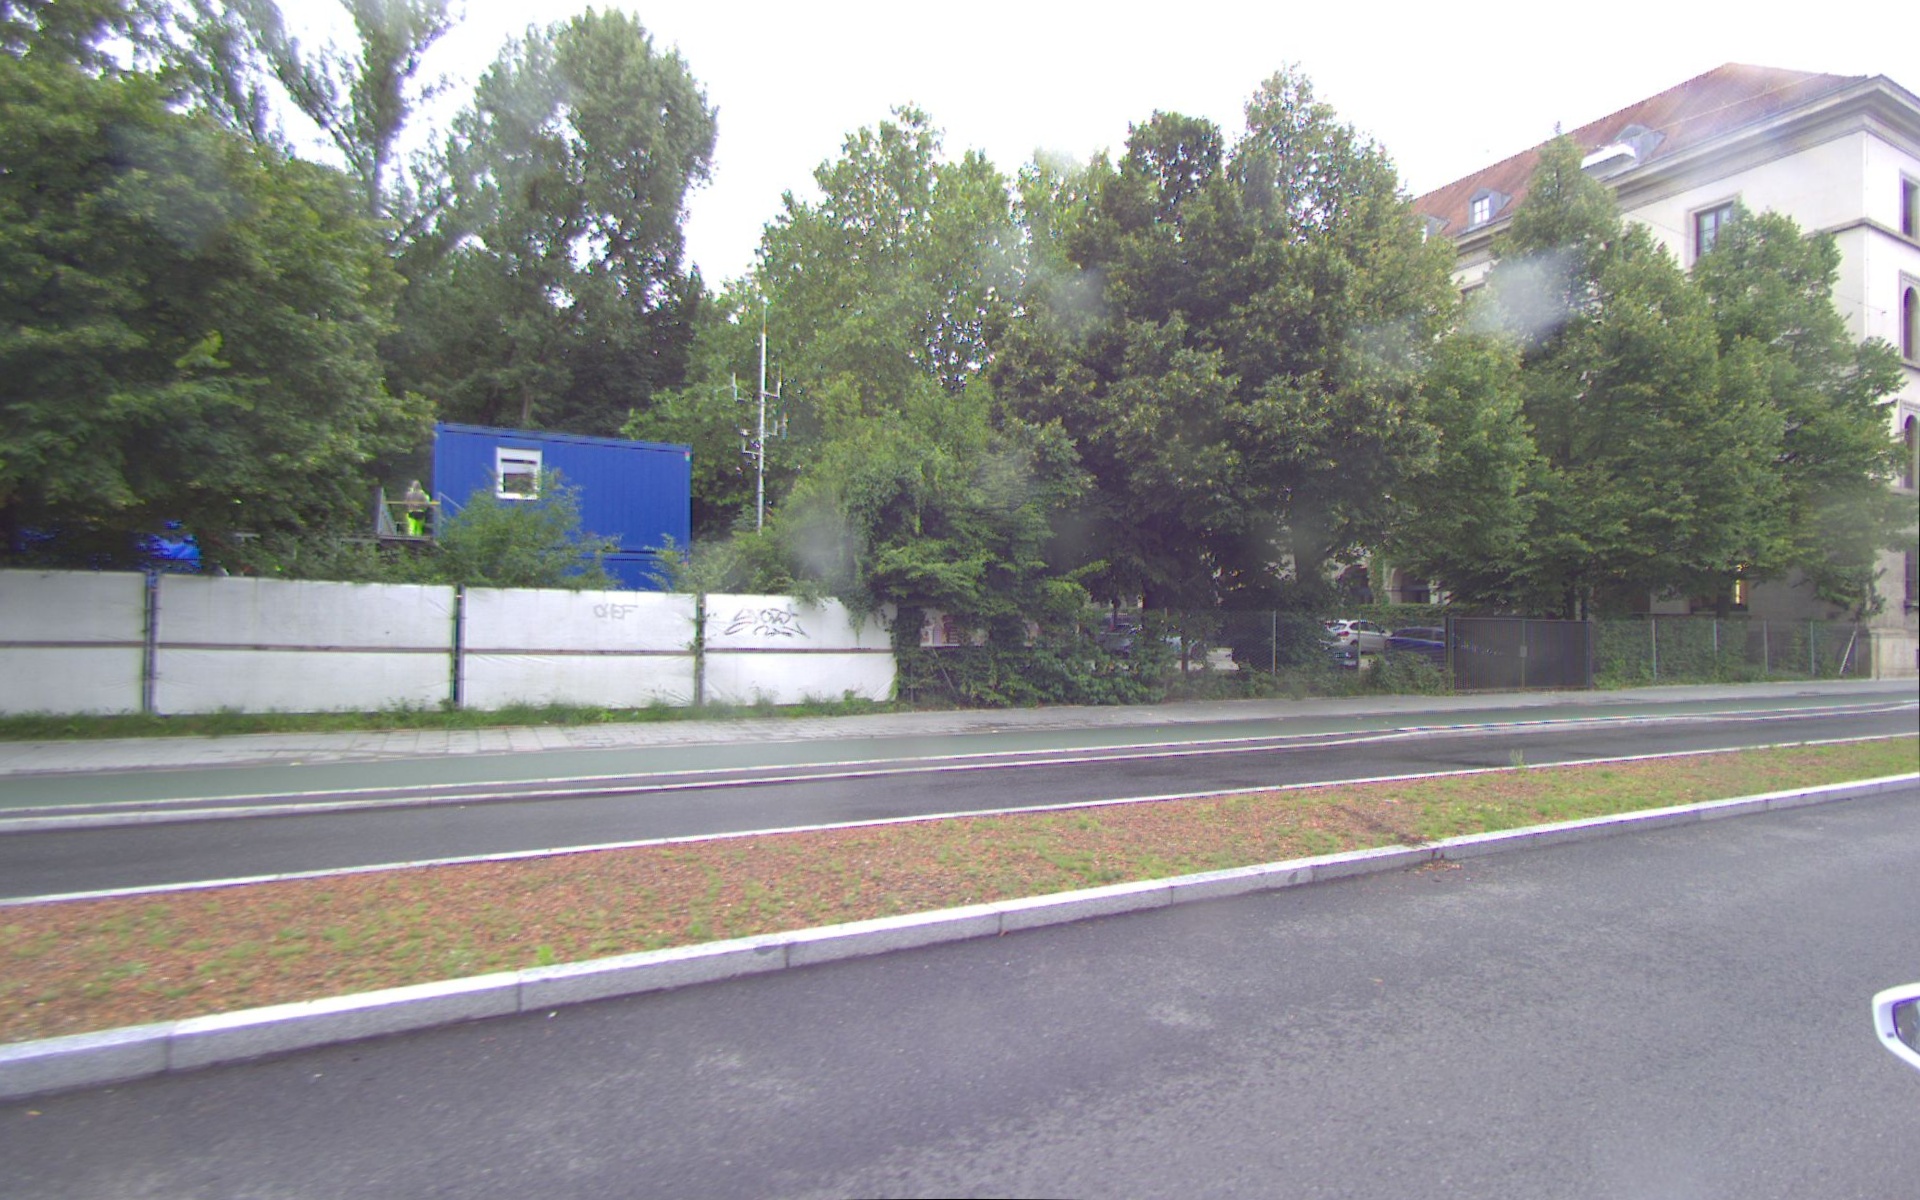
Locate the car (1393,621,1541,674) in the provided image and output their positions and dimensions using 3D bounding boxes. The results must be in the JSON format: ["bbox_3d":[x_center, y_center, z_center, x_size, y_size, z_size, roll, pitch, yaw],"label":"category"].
[{"bbox_3d":[17.053,1.555,33.995,1.782,1.671,4.247,1,-2,-27],"label":"car"}]

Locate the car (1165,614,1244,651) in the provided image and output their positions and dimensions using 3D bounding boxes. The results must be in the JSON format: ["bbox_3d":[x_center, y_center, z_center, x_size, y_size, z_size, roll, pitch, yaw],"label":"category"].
[{"bbox_3d":[13.372,1.786,54.882,3.946,1.954,1.840,1,-1,-25],"label":"car"}]

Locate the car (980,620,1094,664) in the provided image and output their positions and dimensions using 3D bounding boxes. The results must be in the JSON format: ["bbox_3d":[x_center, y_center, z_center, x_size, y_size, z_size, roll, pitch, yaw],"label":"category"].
[{"bbox_3d":[2.907,1.563,37.756,3.952,1.564,1.762,1,-1,-30],"label":"car"}]

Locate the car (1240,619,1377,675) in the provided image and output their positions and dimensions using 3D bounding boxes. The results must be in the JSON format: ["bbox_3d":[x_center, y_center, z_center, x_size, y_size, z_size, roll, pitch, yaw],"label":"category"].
[{"bbox_3d":[10.612,1.410,30.915,1.777,1.610,4.140,1,-2,-20],"label":"car"}]

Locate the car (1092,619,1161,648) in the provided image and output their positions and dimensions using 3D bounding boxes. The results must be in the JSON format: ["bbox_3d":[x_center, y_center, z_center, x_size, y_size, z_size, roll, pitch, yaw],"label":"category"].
[{"bbox_3d":[10.192,2.040,61.478,3.951,1.755,1.763,1,-1,-29],"label":"car"}]

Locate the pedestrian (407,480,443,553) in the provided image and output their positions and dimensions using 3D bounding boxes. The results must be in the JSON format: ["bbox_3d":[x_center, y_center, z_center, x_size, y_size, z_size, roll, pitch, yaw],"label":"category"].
[{"bbox_3d":[-13.980,-2.166,26.237,0.787,1.798,0.826,1,-1,-31],"label":"pedestrian"}]

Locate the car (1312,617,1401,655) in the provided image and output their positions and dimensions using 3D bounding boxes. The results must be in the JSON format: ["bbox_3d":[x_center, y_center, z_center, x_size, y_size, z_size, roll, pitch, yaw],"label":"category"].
[{"bbox_3d":[18.187,1.665,46.024,3.950,1.662,1.658,1,-1,-28],"label":"car"}]

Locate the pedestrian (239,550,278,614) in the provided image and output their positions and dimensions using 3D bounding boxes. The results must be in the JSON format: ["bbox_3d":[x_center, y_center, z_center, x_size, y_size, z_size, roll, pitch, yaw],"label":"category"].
[{"bbox_3d":[-20.024,-0.500,28.694,0.824,1.798,0.789,1,-1,-32],"label":"pedestrian"}]

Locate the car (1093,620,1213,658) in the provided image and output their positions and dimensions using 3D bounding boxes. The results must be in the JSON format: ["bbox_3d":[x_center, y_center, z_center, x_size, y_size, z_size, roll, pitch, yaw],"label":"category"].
[{"bbox_3d":[7.828,1.586,40.687,4.575,1.460,1.985,1,-1,-29],"label":"car"}]
